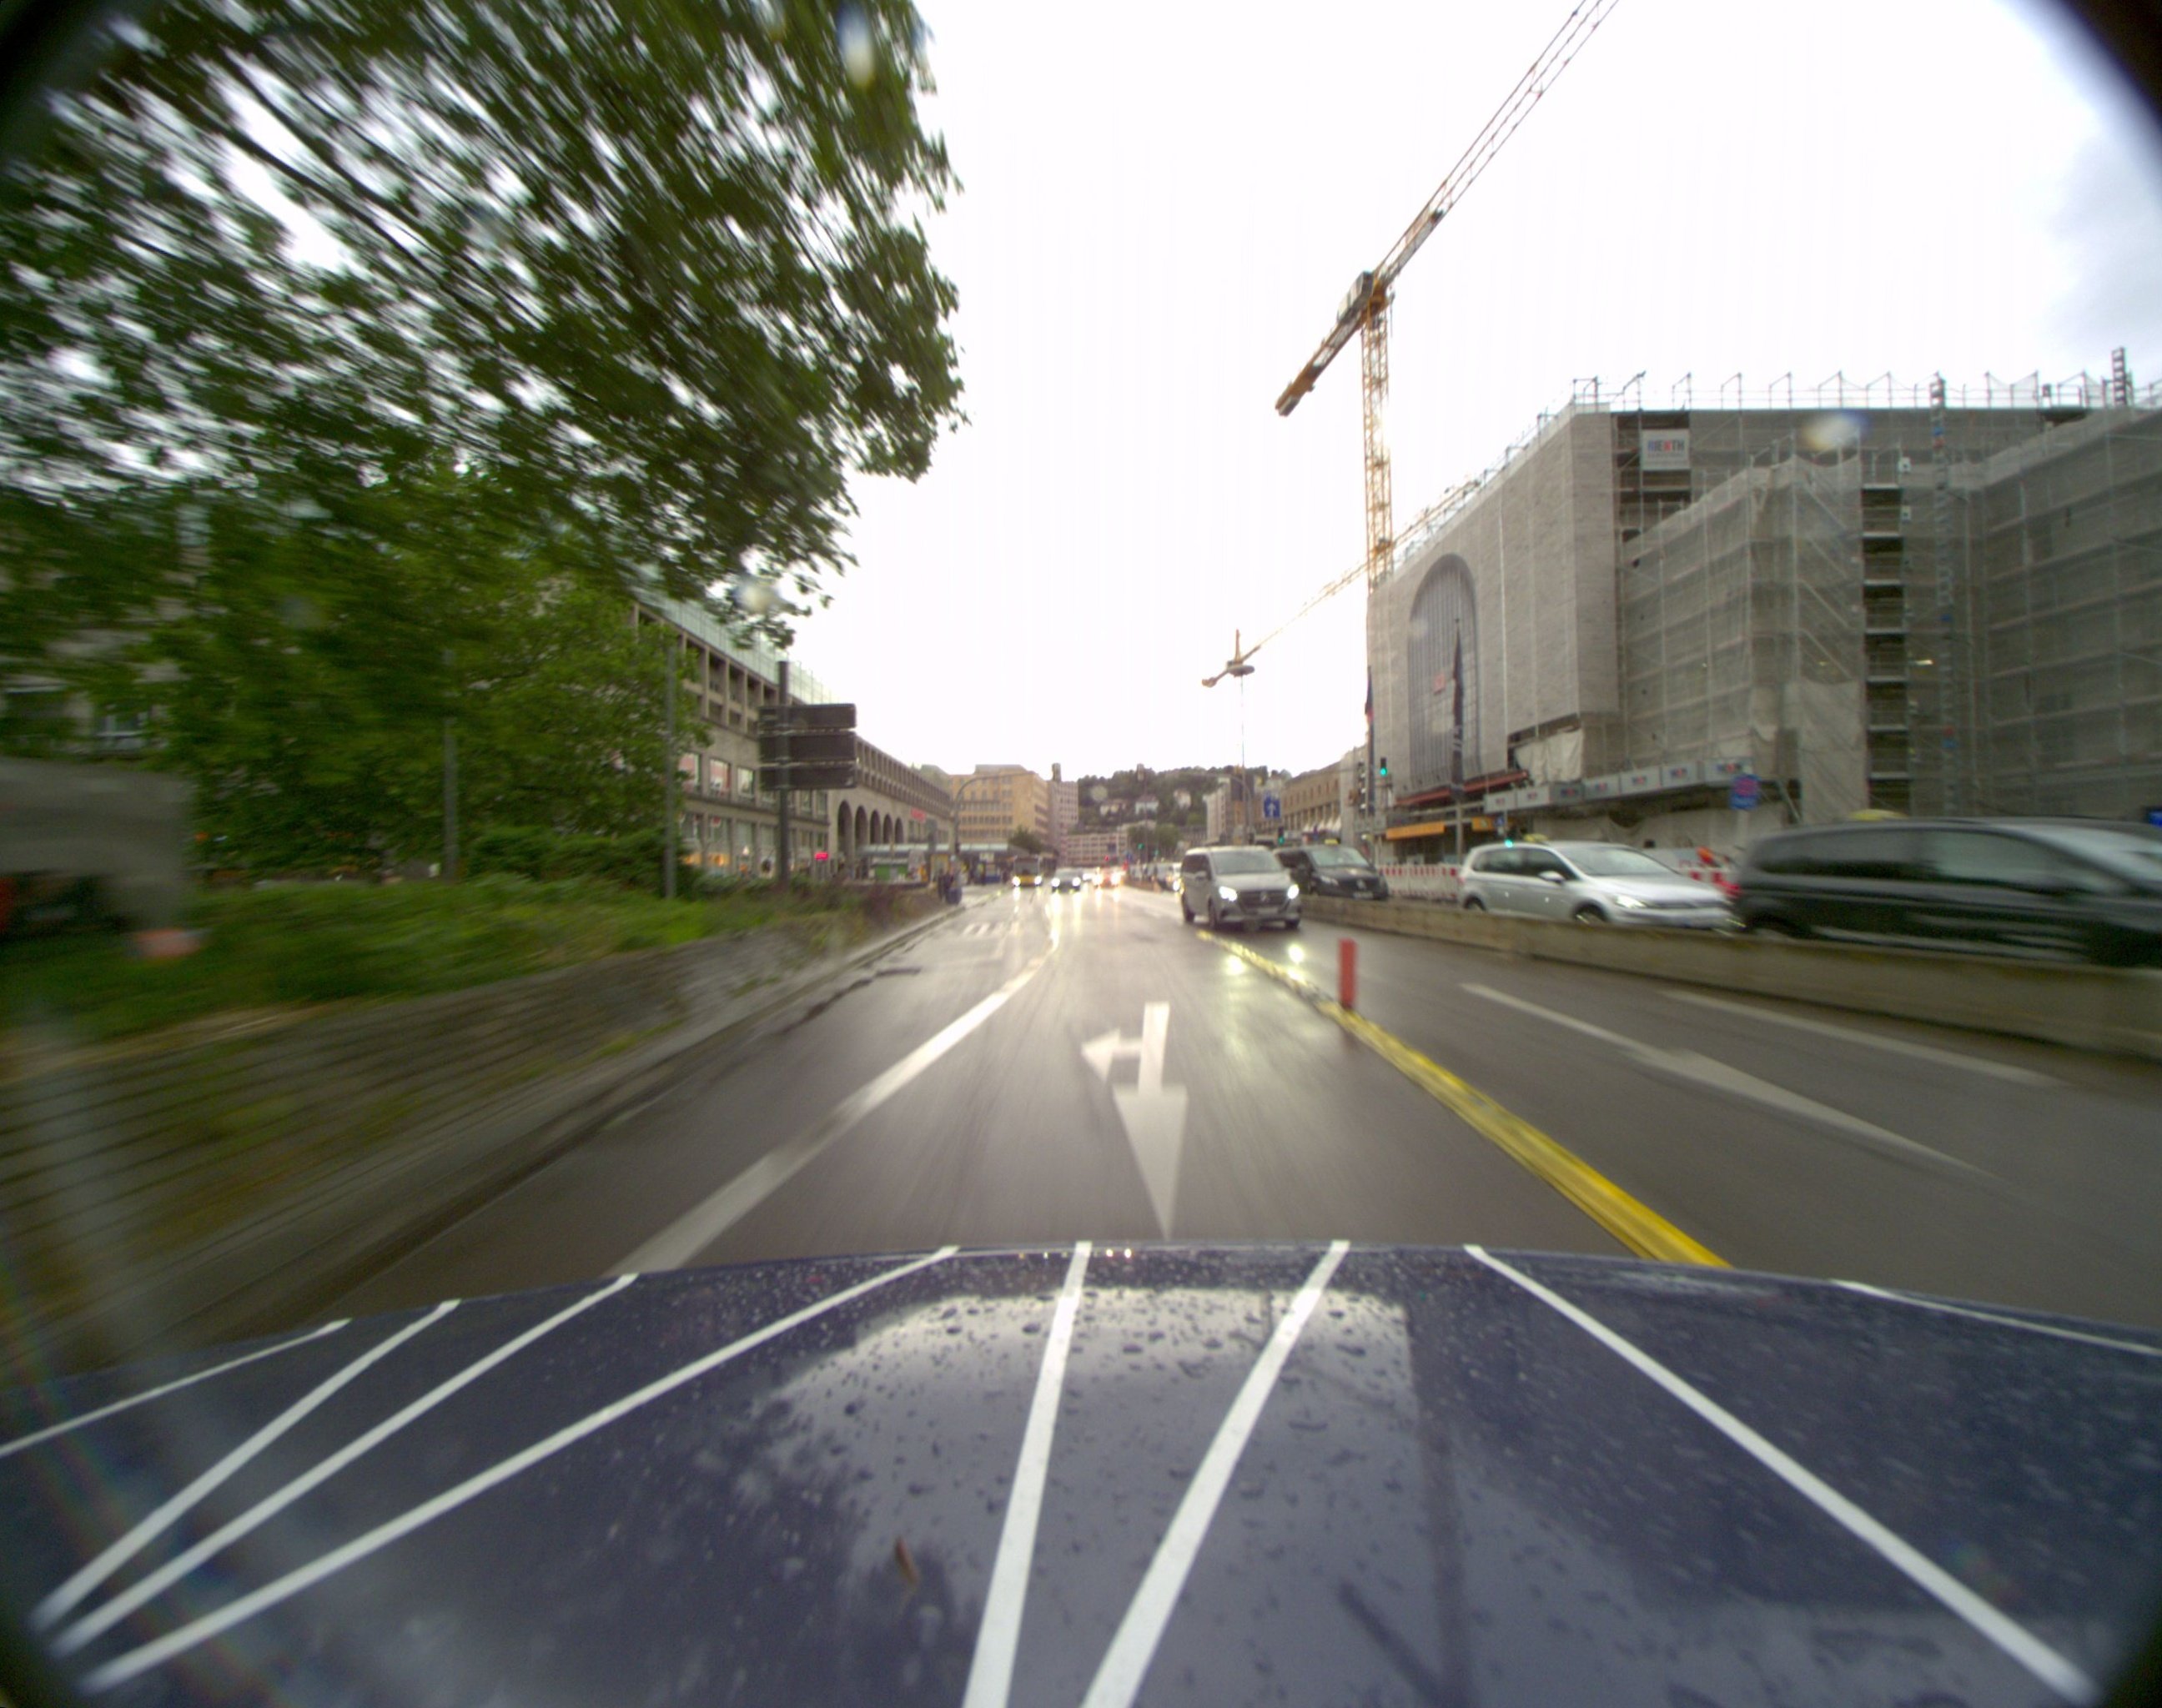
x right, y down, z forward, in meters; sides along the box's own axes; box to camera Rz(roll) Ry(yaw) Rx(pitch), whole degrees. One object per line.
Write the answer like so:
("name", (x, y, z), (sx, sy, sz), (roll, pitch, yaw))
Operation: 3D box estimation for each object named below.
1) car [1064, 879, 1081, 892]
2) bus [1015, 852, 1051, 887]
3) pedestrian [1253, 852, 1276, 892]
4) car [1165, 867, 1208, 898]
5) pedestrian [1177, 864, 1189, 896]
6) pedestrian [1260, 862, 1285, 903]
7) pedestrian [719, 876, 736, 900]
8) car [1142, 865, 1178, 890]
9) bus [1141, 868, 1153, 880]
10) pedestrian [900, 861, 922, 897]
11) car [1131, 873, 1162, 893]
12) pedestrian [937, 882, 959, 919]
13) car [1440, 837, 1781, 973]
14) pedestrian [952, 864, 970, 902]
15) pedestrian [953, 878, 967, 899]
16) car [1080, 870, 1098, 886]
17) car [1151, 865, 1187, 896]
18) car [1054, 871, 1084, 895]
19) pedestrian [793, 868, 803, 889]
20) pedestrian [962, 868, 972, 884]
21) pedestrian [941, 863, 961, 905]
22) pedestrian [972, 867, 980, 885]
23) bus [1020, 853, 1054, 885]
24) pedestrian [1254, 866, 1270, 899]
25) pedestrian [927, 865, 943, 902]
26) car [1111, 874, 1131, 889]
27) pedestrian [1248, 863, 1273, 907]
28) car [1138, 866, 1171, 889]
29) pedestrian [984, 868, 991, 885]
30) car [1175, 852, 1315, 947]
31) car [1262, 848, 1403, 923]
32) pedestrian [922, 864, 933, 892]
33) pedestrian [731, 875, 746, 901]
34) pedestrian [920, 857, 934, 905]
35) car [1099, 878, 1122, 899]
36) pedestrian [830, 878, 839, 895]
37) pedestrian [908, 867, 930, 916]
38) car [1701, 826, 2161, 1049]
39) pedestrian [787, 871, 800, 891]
("car", (-1.050, 3.940, 95.836), (1.998, 1.548, 3.910), (-1, -2, 1))
("bus", (-4.679, 1.519, 75.706), (3.121, 3.185, 9.243), (-2, -1, -1))
("pedestrian", (8.739, 0.848, 36.147), (0.833, 1.875, 0.691), (-1, -1, -11))
("car", (6.076, 1.662, 44.290), (1.791, 1.675, 4.667), (-1, -2, -1))
("pedestrian", (6.436, 1.619, 47.853), (0.529, 2.001, 0.891), (-1, -1, -3))
("pedestrian", (8.808, 1.303, 34.922), (1.005, 1.875, 0.818), (-1, -1, 21))
("pedestrian", (-22.513, 2.149, 48.450), (0.671, 1.514, 0.783), (-1, -1, 6))
("car", (5.750, 1.736, 55.944), (1.999, 1.776, 4.848), (-1, -2, -2))
("bus", (20.359, 6.074, 235.922), (2.916, 3.555, 19.085), (0, -1, 2))
("pedestrian", (-7.378, 1.084, 32.949), (0.657, 1.545, 0.635), (-2, -1, 12))
("car", (5.723, 2.555, 67.016), (2.055, 1.701, 5.055), (-1, -2, -2))
("pedestrian", (-6.143, 2.124, 35.063), (0.877, 1.680, 0.758), (-1, -1, -1))
("car", (7.996, 0.709, 12.222), (1.829, 1.686, 4.773), (-2, -1, -5))
("pedestrian", (-5.747, 1.384, 36.413), (0.748, 1.793, 0.709), (-1, -1, -16))
("pedestrian", (-9.576, 2.730, 60.130), (0.787, 1.631, 0.790), (-1, -1, 14))
("car", (0.893, 2.645, 84.625), (1.872, 1.747, 3.902), (-2, -1, 0))
("car", (5.740, 1.740, 50.194), (1.718, 1.880, 4.611), (-1, -2, -1))
("car", (-0.761, 1.937, 51.959), (1.823, 1.454, 4.701), (-4, -2, 1))
("pedestrian", (-25.776, 2.237, 69.203), (0.790, 1.917, 0.653), (0, -1, -25))
("pedestrian", (-13.263, 2.537, 88.311), (0.790, 1.793, 0.990), (0, -1, -29))
("pedestrian", (-5.818, 1.330, 33.912), (0.789, 1.827, 0.949), (-1, -1, -16))
("pedestrian", (-11.455, 2.428, 82.749), (0.796, 1.917, 0.705), (-1, -1, -11))
("bus", (-4.792, 1.697, 84.893), (3.149, 3.228, 9.136), (-2, -1, 0))
("pedestrian", (9.364, 1.476, 39.366), (0.584, 1.724, 0.756), (-1, -1, -1))
("pedestrian", (-7.252, 1.444, 37.654), (0.541, 1.793, 0.756), (0, -1, -29))
("car", (4.917, 3.355, 93.142), (1.999, 1.695, 4.833), (-1, -2, -2))
("pedestrian", (7.866, 1.359, 33.337), (0.835, 1.870, 1.028), (-1, -1, 1))
("car", (5.936, 1.936, 61.947), (1.999, 1.776, 4.454), (-1, -2, -3))
("pedestrian", (-8.854, 2.153, 71.738), (0.594, 1.609, 0.511), (-2, -1, -6))
("car", (3.728, 1.018, 18.357), (1.999, 1.892, 5.251), (-3, -2, -2))
("car", (7.103, 0.869, 22.127), (1.999, 1.834, 5.061), (-2, -1, -5))
("pedestrian", (-10.544, 1.654, 52.373), (0.708, 1.921, 0.788), (-1, -1, -11))
("pedestrian", (-21.819, 2.147, 48.370), (0.646, 1.592, 0.616), (0, 0, 5))
("pedestrian", (-7.004, 1.230, 34.584), (0.556, 2.133, 0.667), (-1, -1, -16))
("car", (2.291, 2.683, 59.749), (1.709, 1.484, 3.671), (-2, -1, 0))
("pedestrian", (-25.892, 3.384, 79.817), (0.733, 1.781, 0.789), (-1, -1, -1))
("pedestrian", (-7.182, 1.635, 33.708), (0.709, 2.133, 0.722), (-1, 0, 10))
("car", (8.073, 0.561, 6.350), (1.829, 1.502, 4.489), (-2, -1, -5))
("pedestrian", (-24.719, 2.321, 65.340), (0.723, 1.686, 0.776), (-2, -1, -2))
